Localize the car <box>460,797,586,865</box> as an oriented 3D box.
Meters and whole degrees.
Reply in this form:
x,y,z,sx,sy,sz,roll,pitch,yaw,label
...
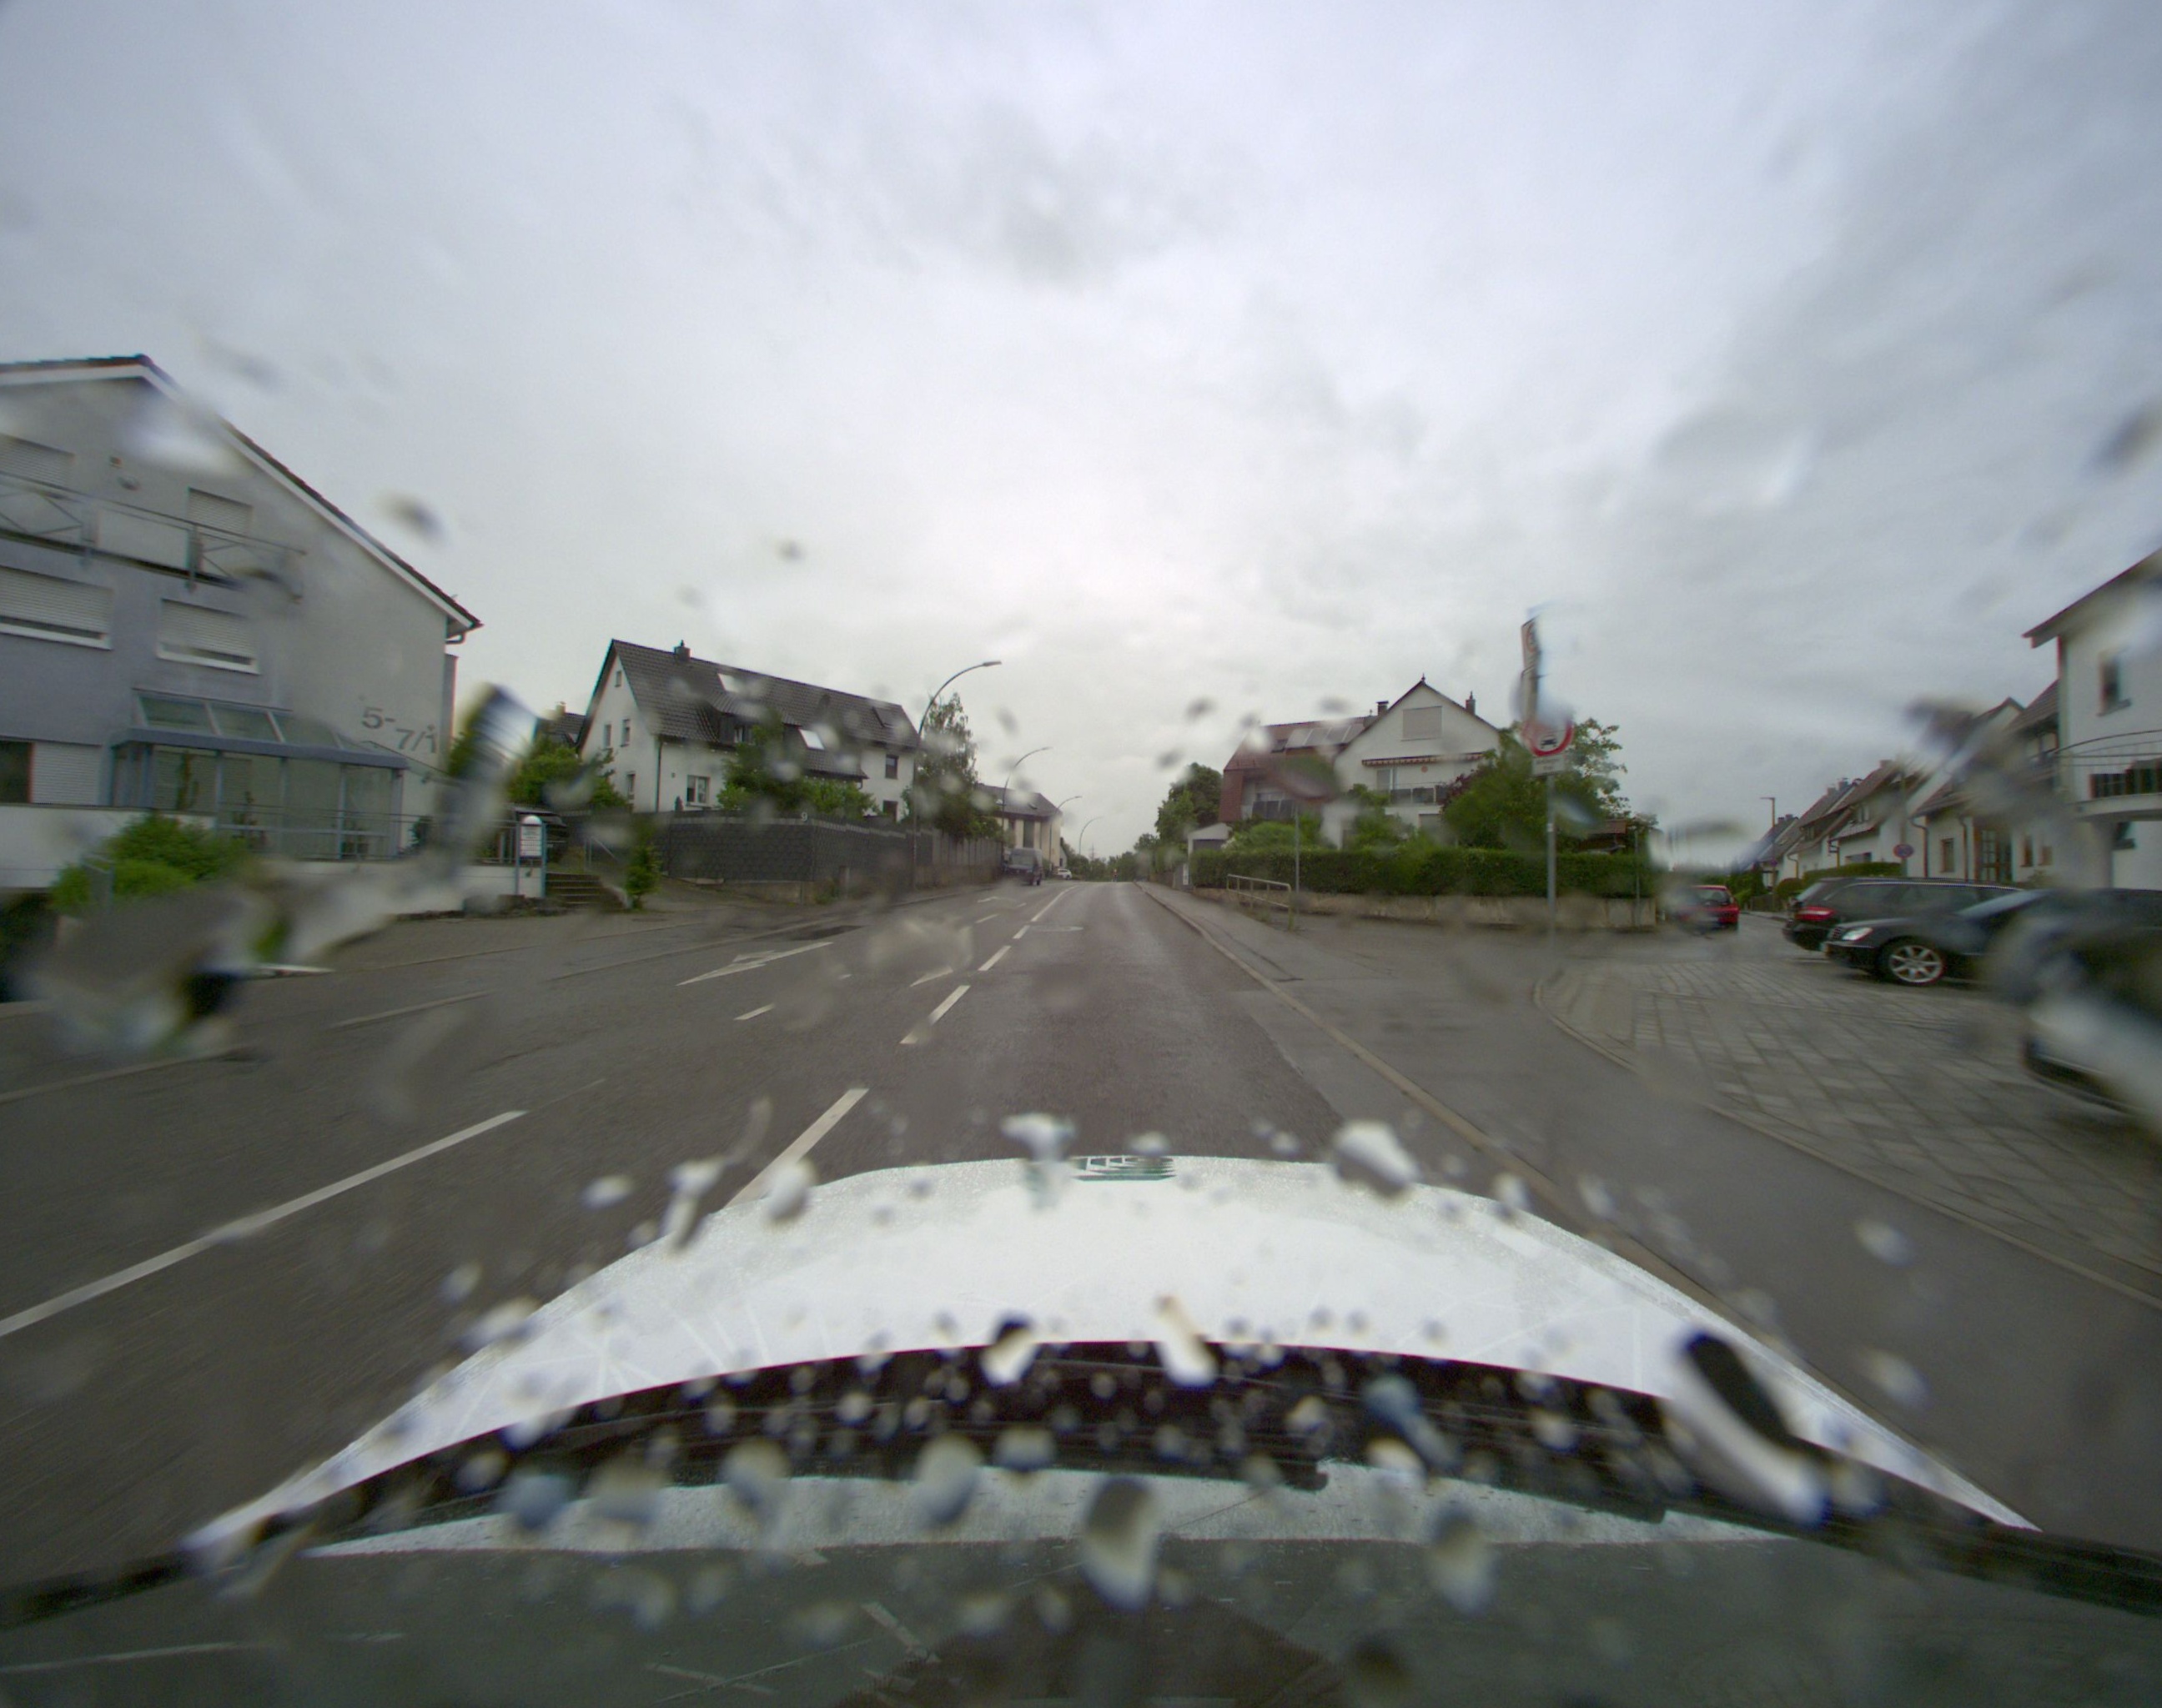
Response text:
x,y,z,sx,sy,sz,roll,pitch,yaw,label
-18.201,-0.760,26.543,3.950,1.781,2.012,7,2,35,car

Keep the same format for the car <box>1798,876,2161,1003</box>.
x,y,z,sx,sy,sz,roll,pitch,yaw,label
12.298,1.051,10.547,4.344,1.323,1.796,2,-1,36,car

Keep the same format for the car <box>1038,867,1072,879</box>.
x,y,z,sx,sy,sz,roll,pitch,yaw,label
-3.536,2.576,110.488,1.883,1.477,4.912,1,-1,38,car

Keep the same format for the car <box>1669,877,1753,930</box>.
x,y,z,sx,sy,sz,roll,pitch,yaw,label
21.390,1.622,27.817,2.002,1.537,4.245,0,0,34,car

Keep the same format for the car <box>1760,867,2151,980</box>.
x,y,z,sx,sy,sz,roll,pitch,yaw,label
13.553,1.030,13.054,3.948,1.464,1.884,1,-3,35,car

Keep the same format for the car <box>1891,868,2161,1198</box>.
x,y,z,sx,sy,sz,roll,pitch,yaw,label
7.071,0.755,3.602,4.520,1.384,2.010,-1,-1,19,car

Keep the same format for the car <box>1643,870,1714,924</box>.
x,y,z,sx,sy,sz,roll,pitch,yaw,label
24.735,1.733,33.864,1.974,2.013,4.025,0,0,30,car

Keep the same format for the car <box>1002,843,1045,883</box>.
x,y,z,sx,sy,sz,roll,pitch,yaw,label
-4.021,0.665,58.211,2.084,2.649,5.925,2,-1,5,car
